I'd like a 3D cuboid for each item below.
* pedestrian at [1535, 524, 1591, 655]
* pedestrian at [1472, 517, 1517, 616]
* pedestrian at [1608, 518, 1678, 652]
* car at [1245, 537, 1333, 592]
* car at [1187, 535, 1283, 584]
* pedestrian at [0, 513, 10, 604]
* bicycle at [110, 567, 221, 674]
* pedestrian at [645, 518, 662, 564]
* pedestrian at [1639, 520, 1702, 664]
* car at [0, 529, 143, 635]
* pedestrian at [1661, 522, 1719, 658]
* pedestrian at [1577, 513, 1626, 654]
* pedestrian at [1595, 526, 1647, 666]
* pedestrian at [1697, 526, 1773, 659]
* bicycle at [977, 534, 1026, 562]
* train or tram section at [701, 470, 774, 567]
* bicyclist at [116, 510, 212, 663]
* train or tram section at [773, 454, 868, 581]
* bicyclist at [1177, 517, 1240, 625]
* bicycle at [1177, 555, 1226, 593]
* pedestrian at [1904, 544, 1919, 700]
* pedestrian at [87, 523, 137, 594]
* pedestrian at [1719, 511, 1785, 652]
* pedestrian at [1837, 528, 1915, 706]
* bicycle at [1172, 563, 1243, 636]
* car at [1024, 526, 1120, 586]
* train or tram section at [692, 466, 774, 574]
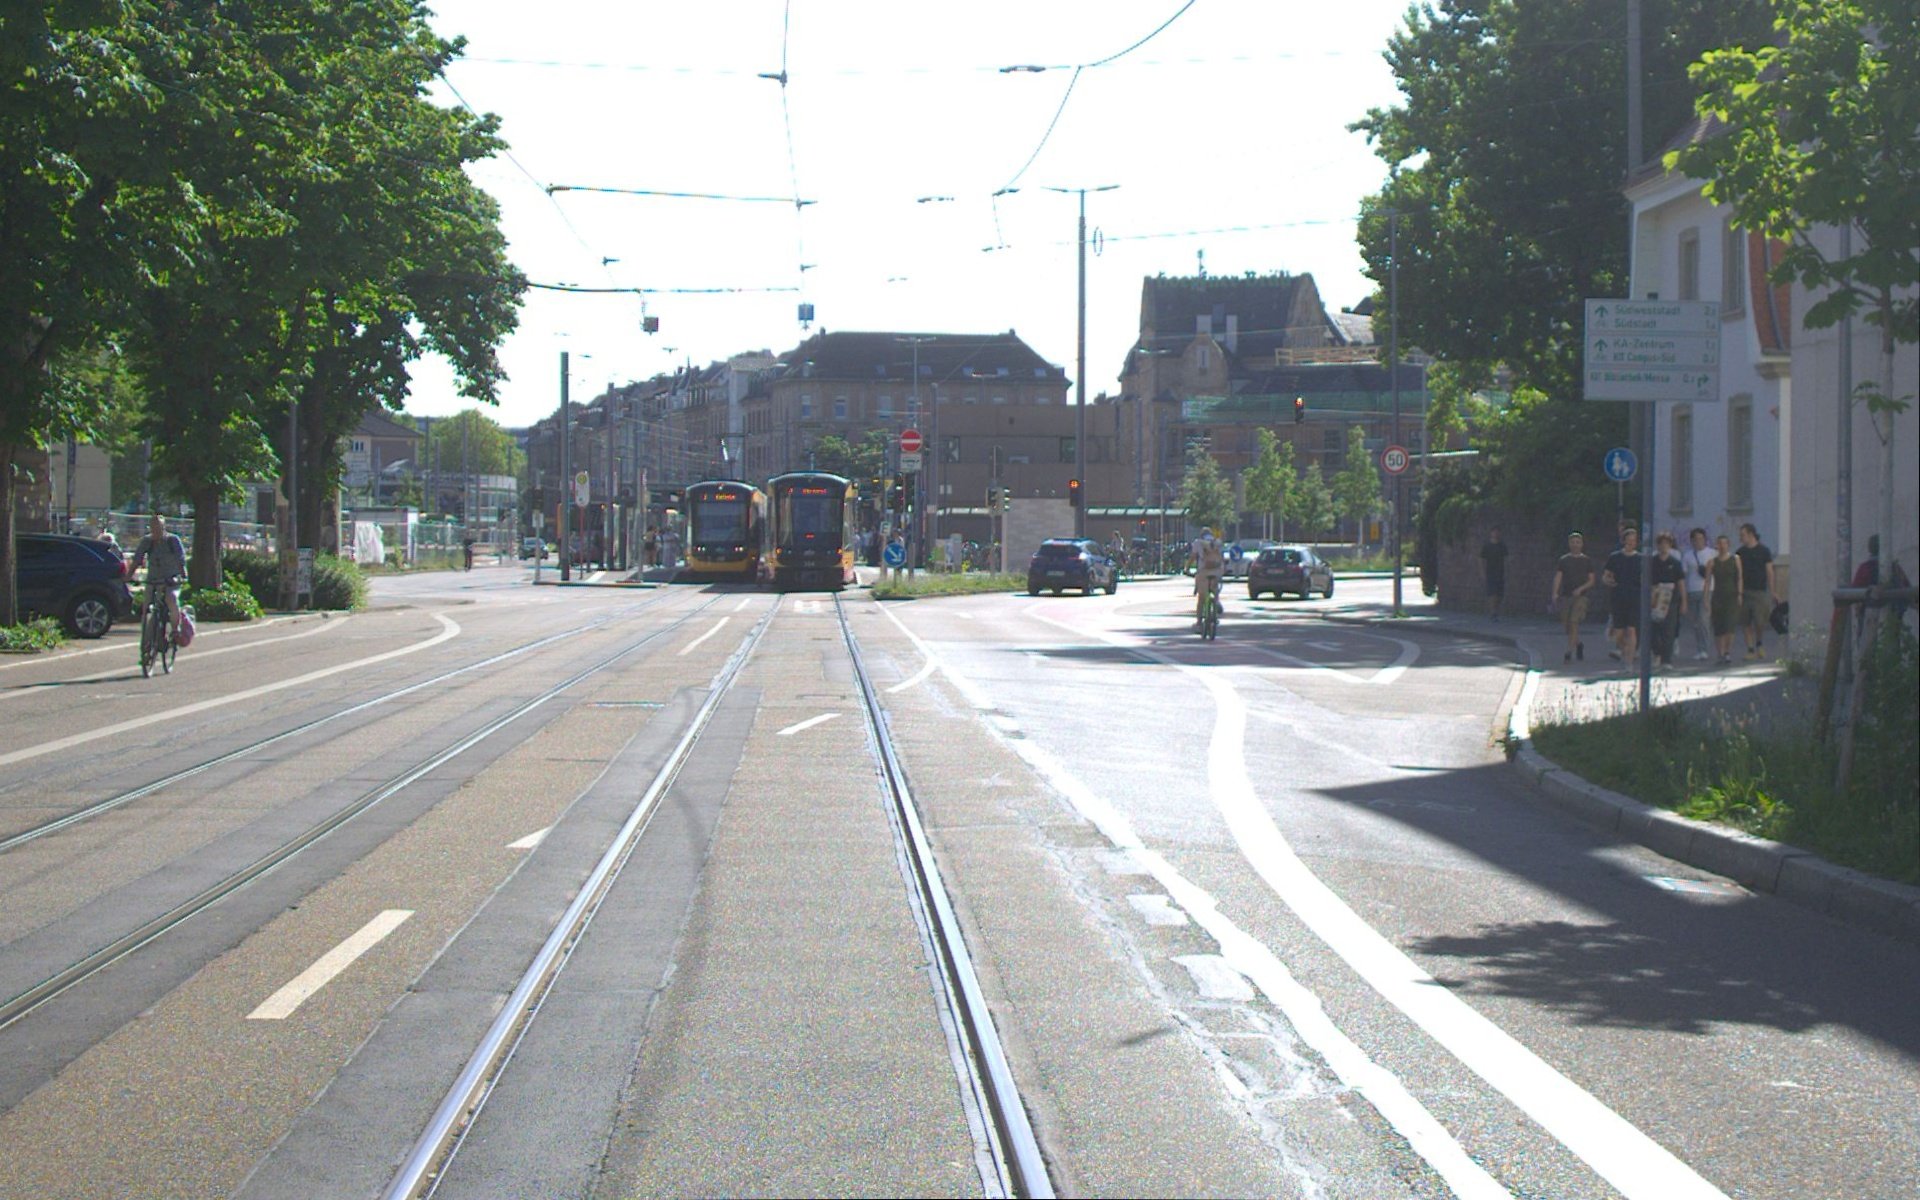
[{"bbox_3d":[8.270,-0.150,47.166,0.606,1.740,0.718,-3,1,6],"label":"pedestrian"},{"bbox_3d":[10.466,-0.662,67.332,0.637,1.897,1.134,-2,1,-1],"label":"pedestrian"},{"bbox_3d":[9.306,-0.207,46.840,0.529,1.768,0.734,-4,1,39],"label":"pedestrian"},{"bbox_3d":[9.408,-1.027,98.133,1.790,1.506,3.710,2,2,16],"label":"car"},{"bbox_3d":[9.557,-1.418,119.339,1.705,1.638,3.705,2,2,33],"label":"car"},{"bbox_3d":[-17.623,-0.766,62.050,0.700,1.629,0.759,2,1,-2],"label":"pedestrian"},{"bbox_3d":[-8.799,0.216,38.139,0.686,1.120,1.931,-2,1,2],"label":"bicycle"},{"bbox_3d":[-12.071,-2.320,135.349,0.626,1.821,0.662,0,1,-3],"label":"pedestrian"},{"bbox_3d":[9.002,-0.110,43.516,0.647,1.757,0.955,-4,1,13],"label":"pedestrian"},{"bbox_3d":[-14.343,-0.285,50.895,3.986,1.544,1.878,1,1,-29],"label":"car"},{"bbox_3d":[9.807,-0.138,46.180,0.610,1.768,0.652,-4,1,14],"label":"pedestrian"},{"bbox_3d":[8.793,-0.228,47.130,0.518,1.896,0.611,-3,1,6],"label":"pedestrian"},{"bbox_3d":[8.338,-0.059,43.403,0.495,1.722,0.816,-4,1,9],"label":"pedestrian"},{"bbox_3d":[9.822,-0.104,43.588,0.829,1.599,0.893,-4,1,13],"label":"pedestrian"},{"bbox_3d":[1.676,-2.114,139.713,1.933,1.099,0.599,0,1,-4],"label":"bicycle"},{"bbox_3d":[-8.750,-3.240,136.146,2.742,3.639,12.546,0,2,-3],"label":"train or tram section"},{"bbox_3d":[-8.814,-0.158,38.106,0.686,1.639,1.237,-2,1,2],"label":"bicyclist"},{"bbox_3d":[-4.388,-2.563,105.995,2.742,3.639,13.788,0,2,-3],"label":"train or tram section"},{"bbox_3d":[3.948,-0.467,54.573,0.705,1.669,1.100,2,2,17],"label":"bicyclist"},{"bbox_3d":[7.020,-0.763,99.860,0.706,1.051,2.311,3,2,22],"label":"bicycle"},{"bbox_3d":[8.921,0.195,31.174,0.518,1.399,0.764,0,1,1],"label":"pedestrian"},{"bbox_3d":[-18.053,-0.884,73.149,0.920,1.499,0.706,0,1,-24],"label":"pedestrian"},{"bbox_3d":[10.384,-0.245,45.098,0.657,1.796,0.731,-3,1,6],"label":"pedestrian"},{"bbox_3d":[8.331,0.147,31.280,0.518,1.595,0.764,0,1,1],"label":"pedestrian"},{"bbox_3d":[3.936,-0.022,54.585,0.705,1.101,1.716,2,2,17],"label":"bicycle"},{"bbox_3d":[3.178,-1.241,96.732,1.790,1.599,3.710,2,2,16],"label":"car"},{"bbox_3d":[-8.053,-2.875,123.055,2.742,3.639,13.788,0,2,-3],"label":"train or tram section"}]
